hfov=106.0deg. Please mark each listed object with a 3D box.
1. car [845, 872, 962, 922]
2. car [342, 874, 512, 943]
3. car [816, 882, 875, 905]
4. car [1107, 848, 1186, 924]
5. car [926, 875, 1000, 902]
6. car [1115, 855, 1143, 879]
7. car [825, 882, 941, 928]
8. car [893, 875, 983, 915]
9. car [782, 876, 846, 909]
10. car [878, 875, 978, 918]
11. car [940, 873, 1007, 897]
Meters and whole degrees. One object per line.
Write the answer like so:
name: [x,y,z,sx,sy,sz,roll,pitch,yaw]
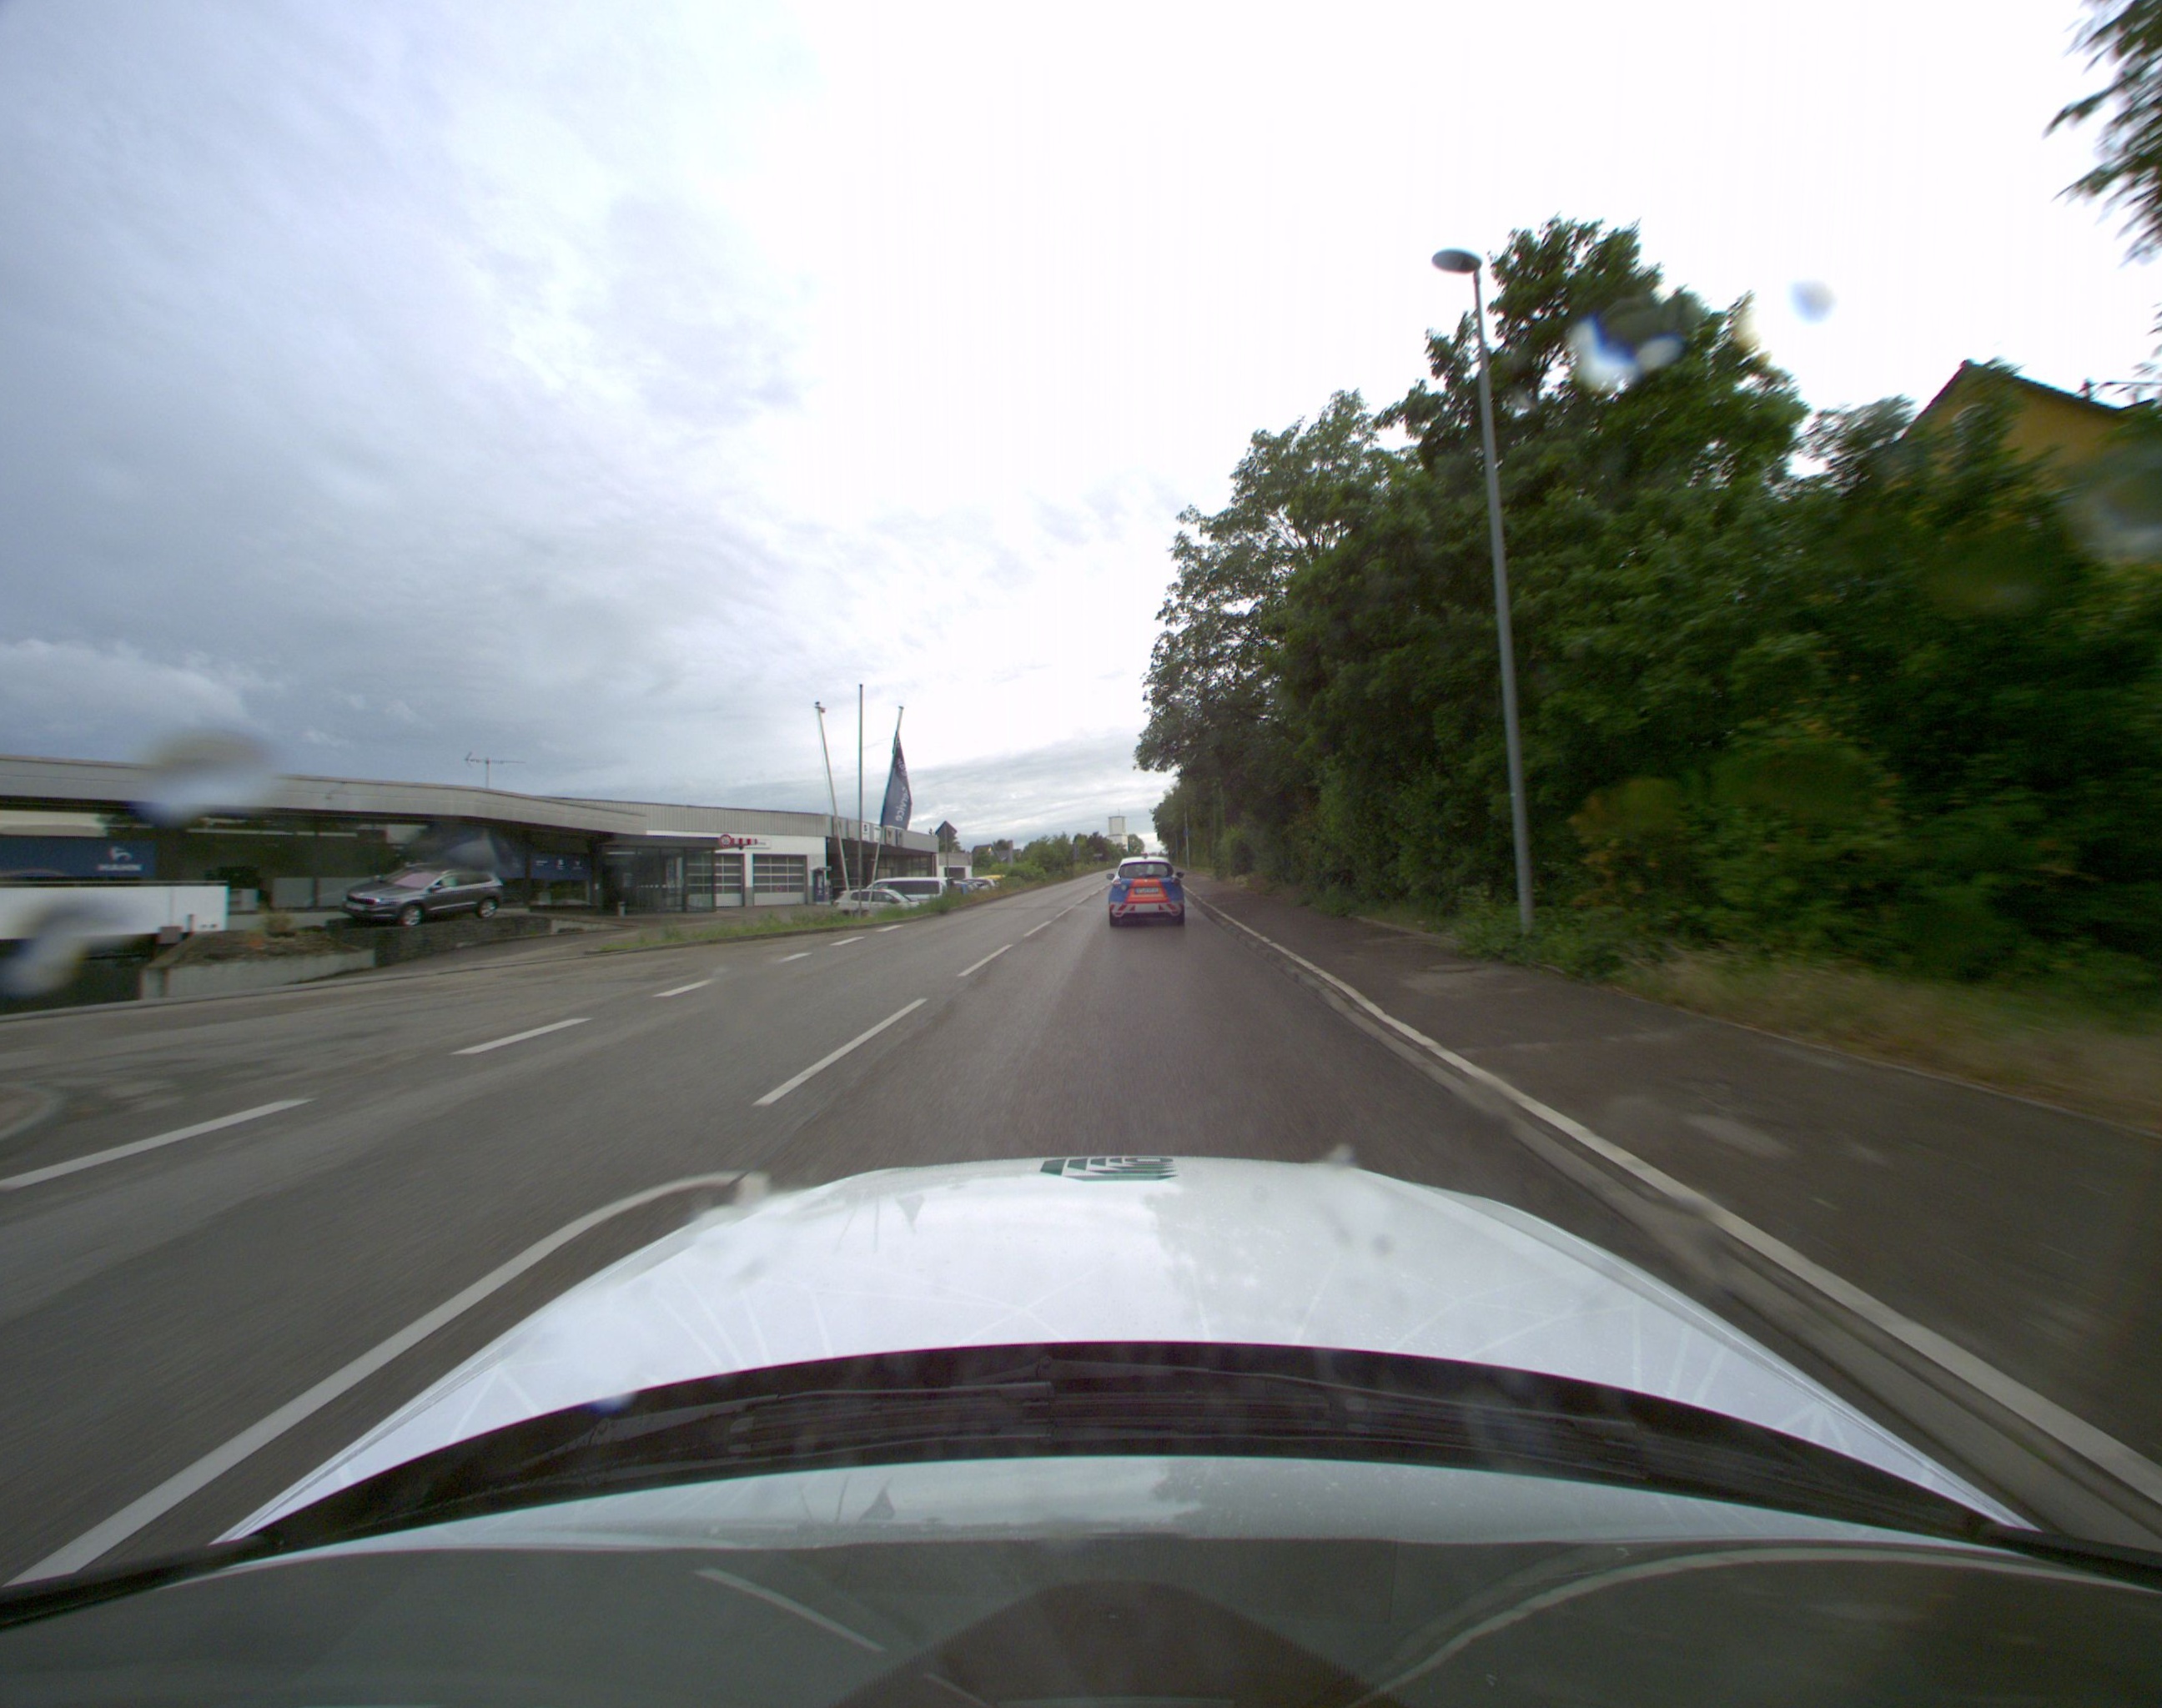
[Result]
car: [-7.508,1.815,34.679,4.394,1.798,1.936,-3,-1,2]
car: [-19.923,1.585,25.074,1.392,1.800,4.259,-4,-1,7]
car: [-16.794,2.822,58.029,3.970,1.416,1.966,-4,-1,38]
car: [1.571,0.744,19.543,1.650,1.593,3.572,-2,-2,5]
car: [-7.295,2.129,50.737,4.211,1.368,1.875,-3,0,0]
car: [3.456,0.956,59.280,1.796,1.590,3.562,-4,-1,0]
car: [-7.726,1.979,32.068,3.992,1.478,1.825,-3,0,2]
car: [-7.415,2.114,42.528,4.211,1.798,1.875,-3,-1,0]
car: [-18.439,2.664,56.180,4.427,1.960,2.001,-7,-3,39]
car: [-7.485,2.062,40.177,4.397,1.798,2.002,-3,-1,0]
car: [-7.019,2.017,53.300,4.048,1.291,1.805,-3,0,0]
